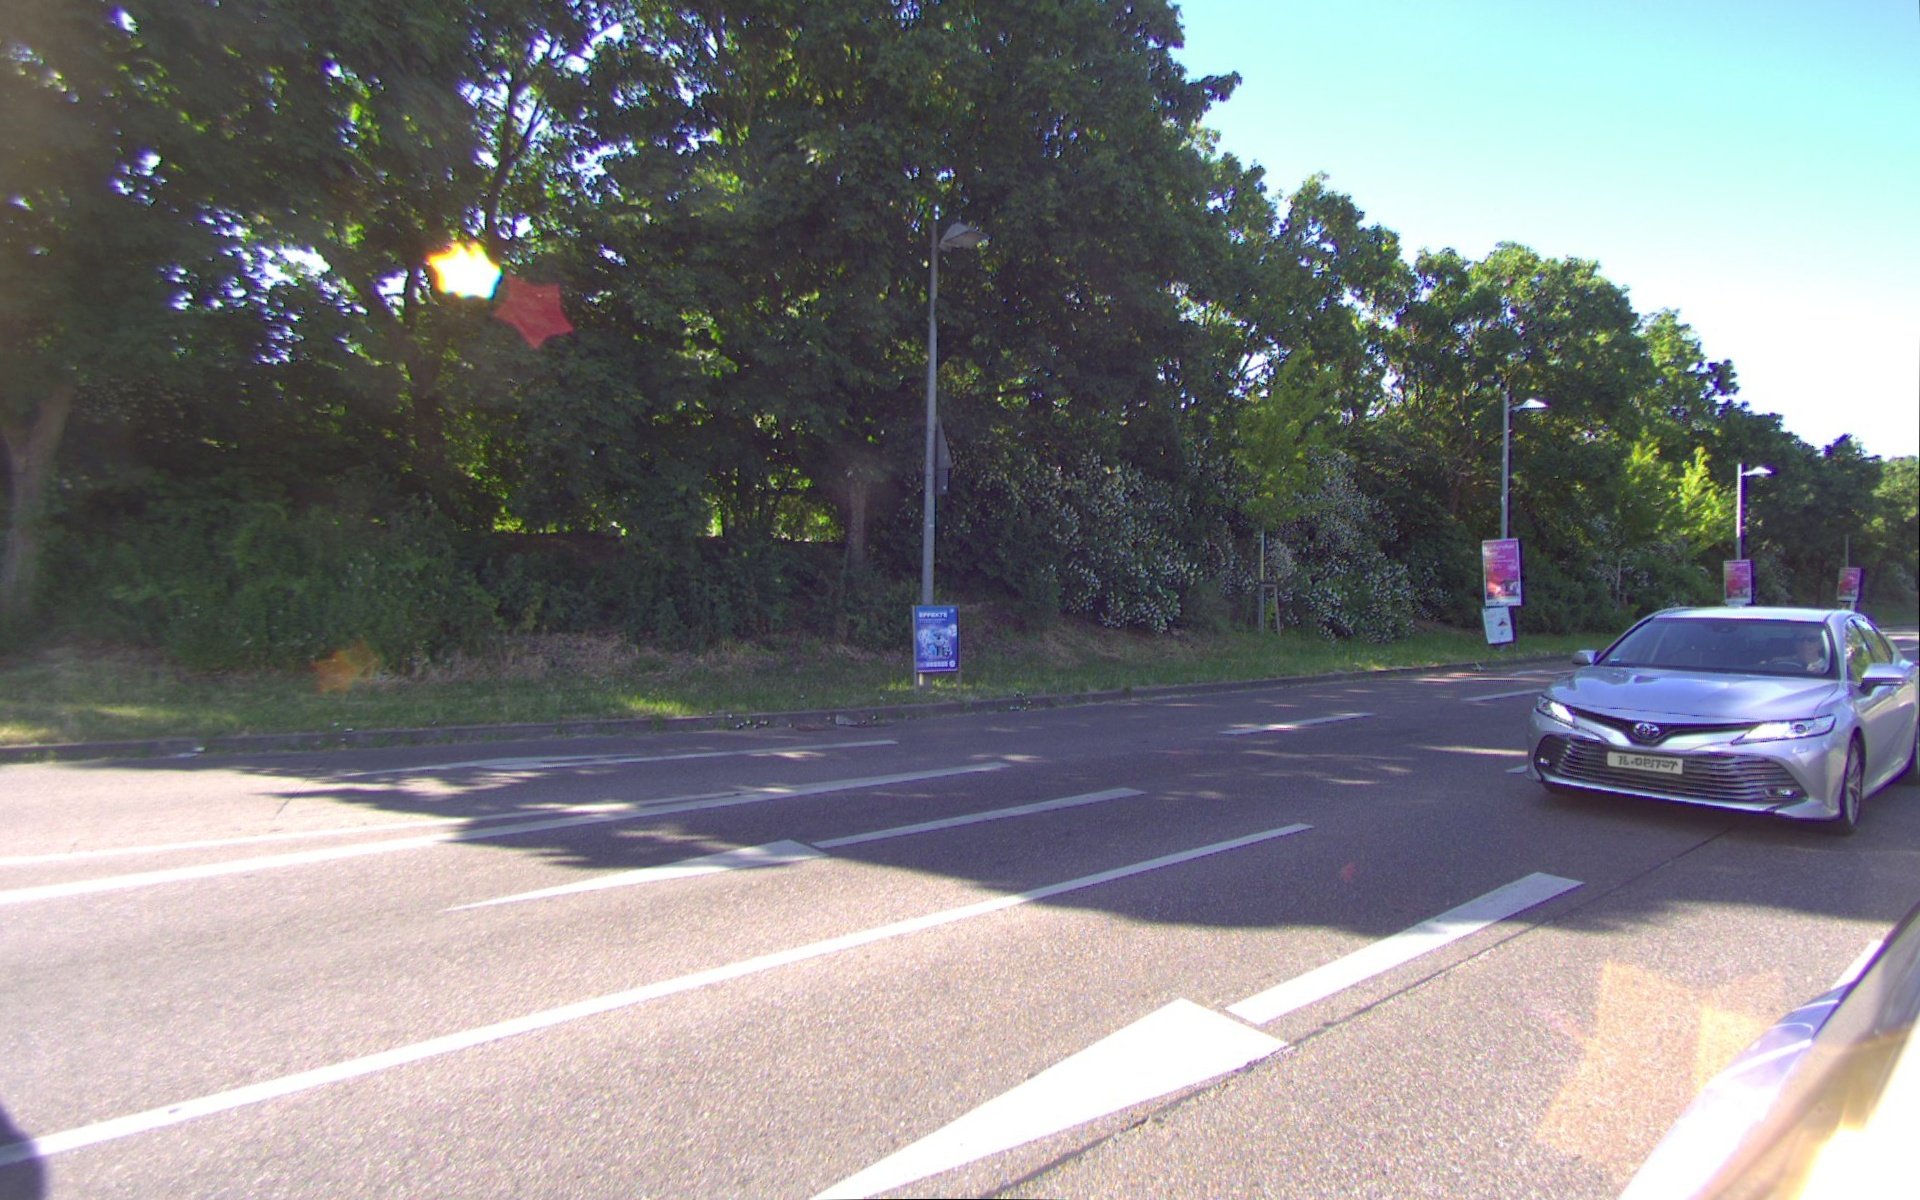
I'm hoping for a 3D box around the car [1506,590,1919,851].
[{"bbox_3d":[6.226,0.672,7.936,4.512,1.454,1.875,0,1,-40],"label":"car"}]
